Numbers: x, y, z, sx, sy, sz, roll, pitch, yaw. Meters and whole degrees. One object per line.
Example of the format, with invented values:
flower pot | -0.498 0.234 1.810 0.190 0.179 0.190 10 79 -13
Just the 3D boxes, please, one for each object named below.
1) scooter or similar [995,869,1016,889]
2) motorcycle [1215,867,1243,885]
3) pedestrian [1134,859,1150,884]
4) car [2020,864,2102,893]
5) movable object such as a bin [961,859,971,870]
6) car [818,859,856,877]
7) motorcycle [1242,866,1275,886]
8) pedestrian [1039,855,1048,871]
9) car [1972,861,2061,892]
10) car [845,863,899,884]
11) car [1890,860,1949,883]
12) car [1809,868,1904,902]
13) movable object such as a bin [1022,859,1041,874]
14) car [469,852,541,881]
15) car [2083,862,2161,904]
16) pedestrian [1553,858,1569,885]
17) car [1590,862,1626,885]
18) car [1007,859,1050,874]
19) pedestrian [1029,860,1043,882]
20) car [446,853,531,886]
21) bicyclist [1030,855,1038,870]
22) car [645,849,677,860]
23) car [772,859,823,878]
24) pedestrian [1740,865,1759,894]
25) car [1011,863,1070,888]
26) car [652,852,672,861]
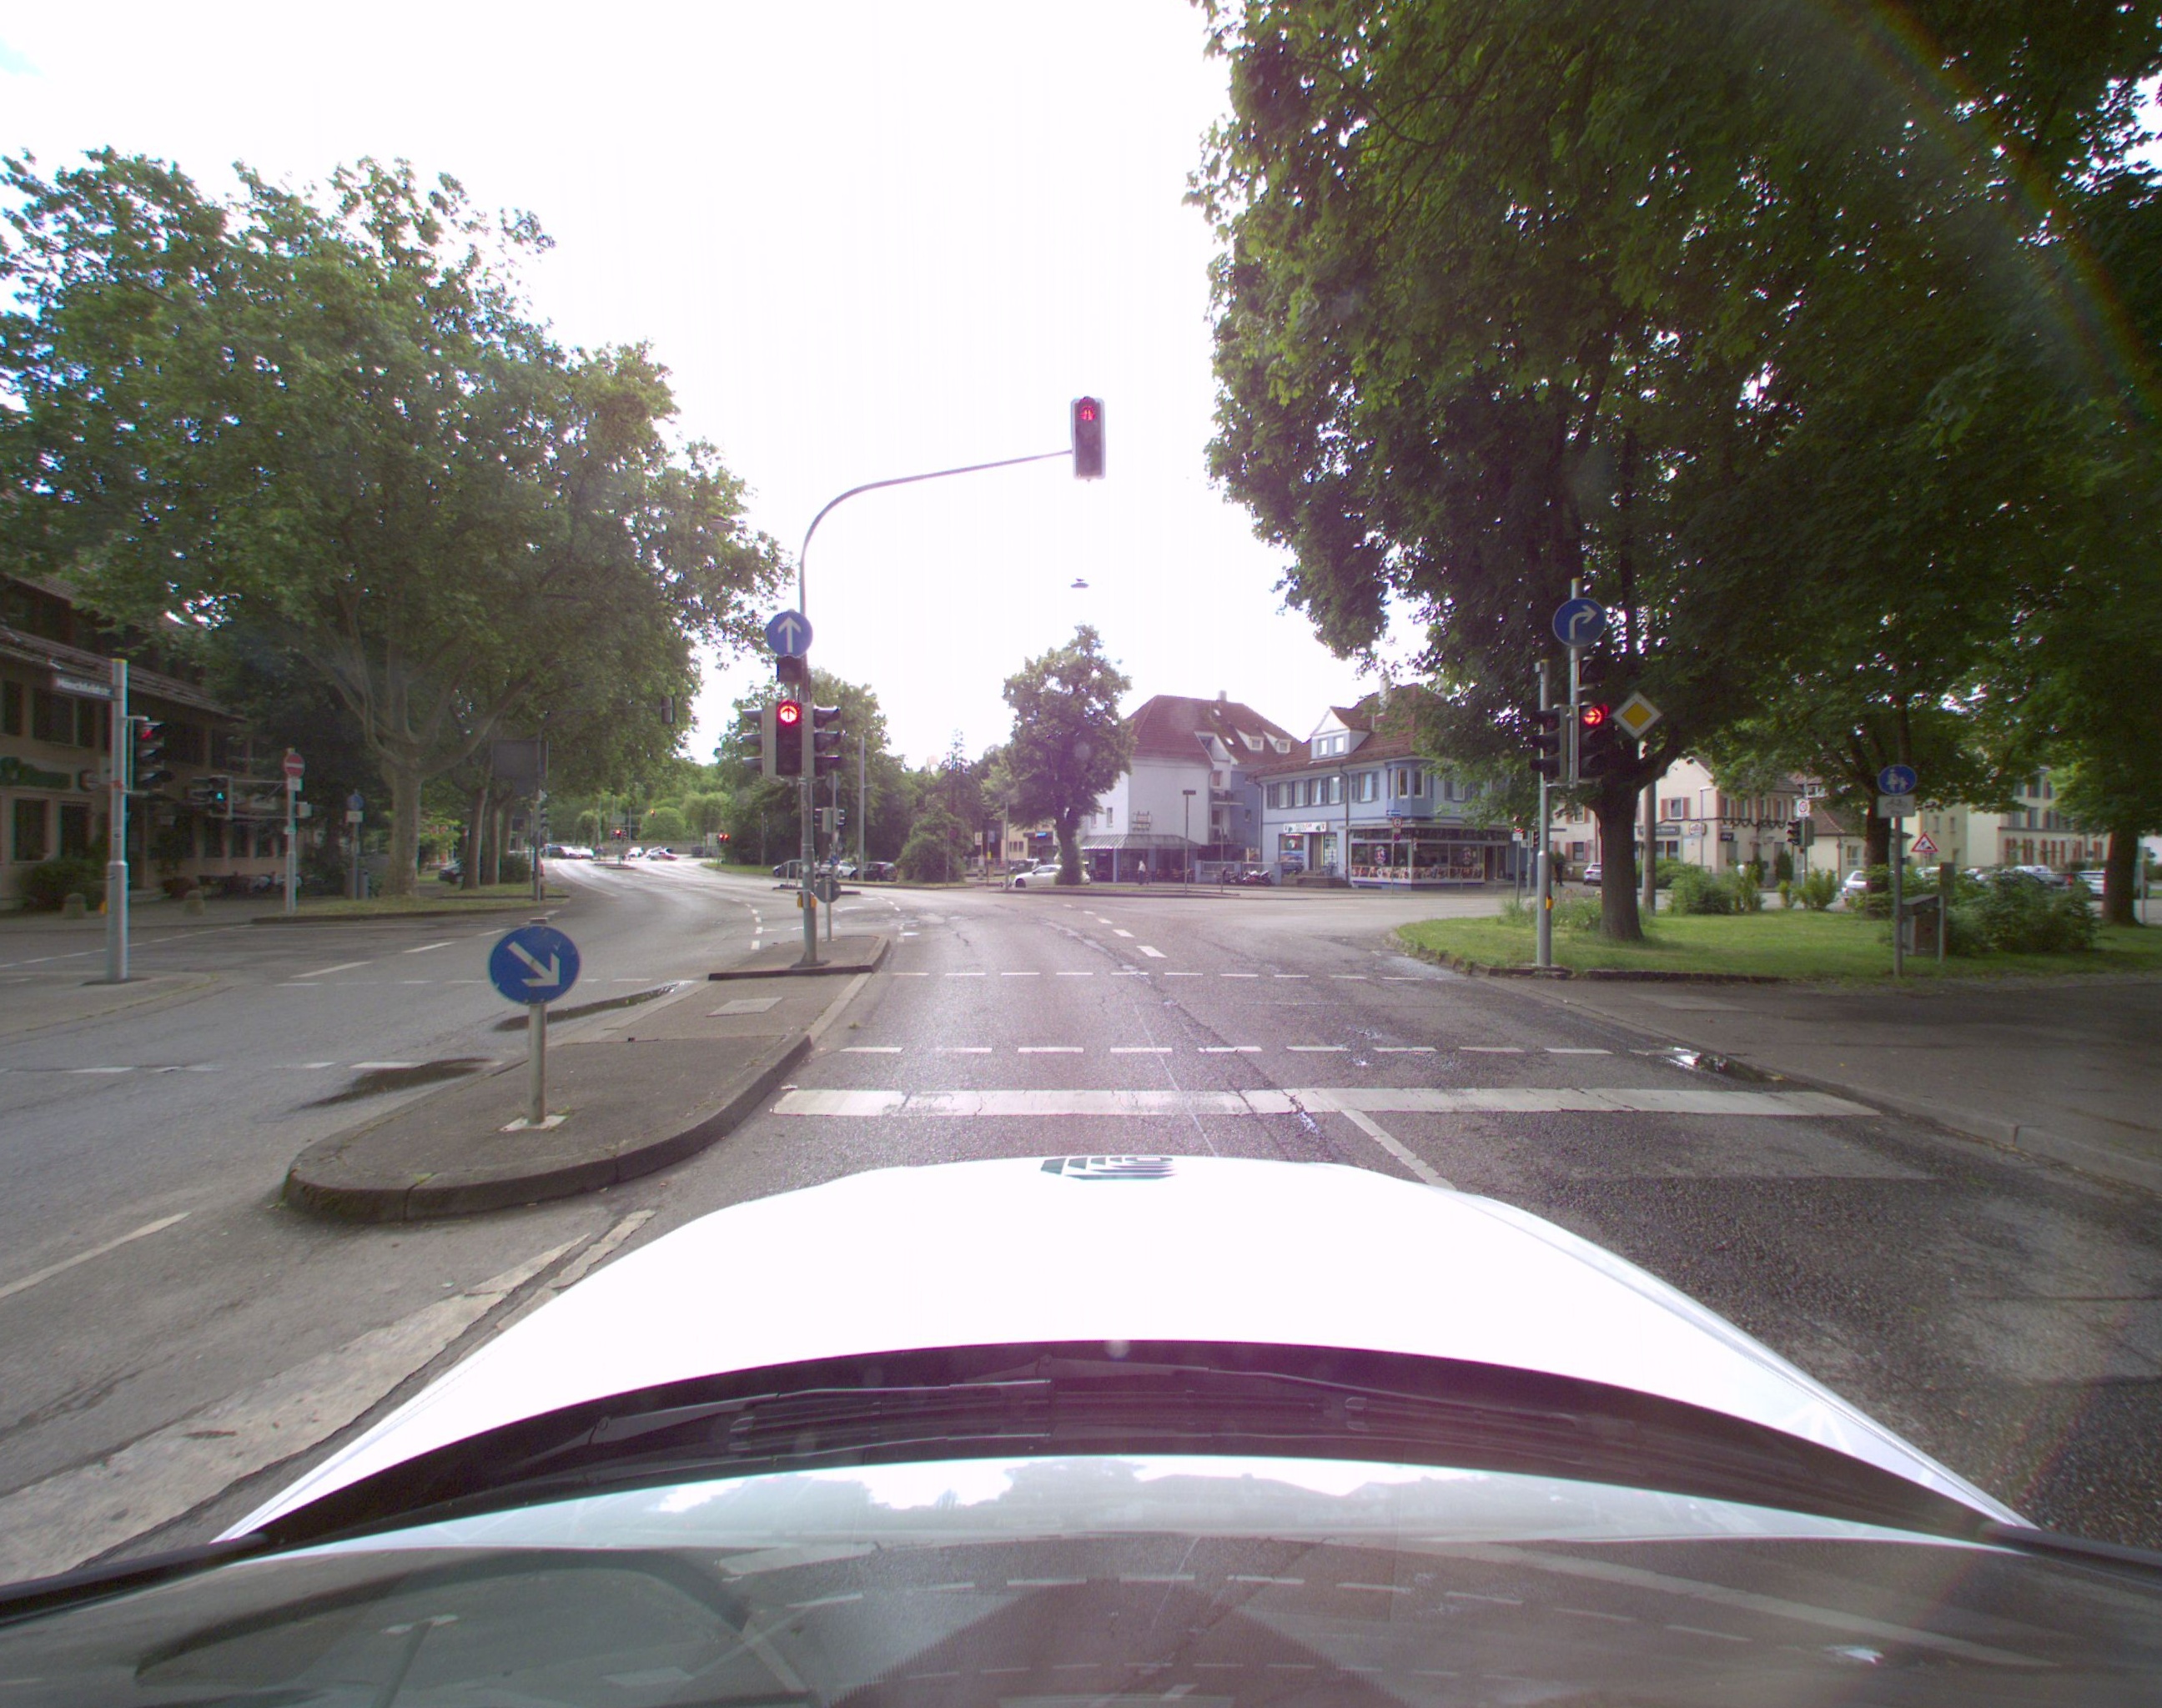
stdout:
scooter or similar | -3.978 1.295 42.879 0.413 1.011 1.575 -1 -1 22
motorcycle | 9.112 1.319 50.075 0.699 1.064 1.617 0 -1 -44
pedestrian | 3.906 1.119 52.232 0.759 1.545 0.682 -1 -1 41
car | 47.002 1.169 39.059 3.511 1.321 1.549 0 0 -22
movable object such as a bin | -12.225 1.131 86.636 0.953 1.115 0.381 0 -1 -19
car | -20.082 1.139 67.183 1.534 1.464 3.407 0 0 13
motorcycle | 10.534 1.293 48.261 1.777 1.121 0.699 0 -1 40
pedestrian | -3.715 0.895 80.793 0.681 1.545 0.701 0 -1 -32
car | 42.215 0.978 36.751 3.510 1.321 1.549 0 0 -21
car | -13.909 1.273 54.202 3.549 1.394 1.481 0 -1 34
car | 55.114 1.131 53.530 4.007 1.420 1.544 0 0 -26
car | 31.962 1.254 33.567 3.511 1.321 1.549 0 0 -22
movable object such as a bin | -4.526 1.143 74.246 1.447 1.409 0.959 0 -1 -25
car | -35.486 0.764 50.278 3.461 1.742 1.557 0 -1 -31
car | 52.830 1.438 41.126 4.004 2.014 1.770 0 -1 -23
pedestrian | 27.447 0.993 46.551 0.459 1.517 0.584 0 -1 -18
car | 32.601 1.189 50.340 1.481 1.369 3.198 -1 -1 40
car | -4.884 1.144 76.153 3.752 1.345 1.422 0 0 -25
pedestrian | -3.132 1.183 56.910 0.699 1.545 0.682 -1 -1 42
car | -31.002 0.790 42.713 3.461 1.641 1.557 0 -1 -31
bicyclist | -4.730 0.859 82.358 0.739 1.541 0.596 0 -1 -17
car | -64.860 0.076 125.711 3.990 1.783 1.992 0 0 -13
car | -22.441 1.123 64.481 3.520 1.464 1.591 0 0 14
pedestrian | 38.183 1.436 46.516 0.611 1.649 0.606 0 -1 -27
car | -2.309 1.207 46.236 3.134 1.354 1.448 0 -1 36
car | -95.507 0.462 185.594 4.011 2.014 1.981 0 -1 -29
